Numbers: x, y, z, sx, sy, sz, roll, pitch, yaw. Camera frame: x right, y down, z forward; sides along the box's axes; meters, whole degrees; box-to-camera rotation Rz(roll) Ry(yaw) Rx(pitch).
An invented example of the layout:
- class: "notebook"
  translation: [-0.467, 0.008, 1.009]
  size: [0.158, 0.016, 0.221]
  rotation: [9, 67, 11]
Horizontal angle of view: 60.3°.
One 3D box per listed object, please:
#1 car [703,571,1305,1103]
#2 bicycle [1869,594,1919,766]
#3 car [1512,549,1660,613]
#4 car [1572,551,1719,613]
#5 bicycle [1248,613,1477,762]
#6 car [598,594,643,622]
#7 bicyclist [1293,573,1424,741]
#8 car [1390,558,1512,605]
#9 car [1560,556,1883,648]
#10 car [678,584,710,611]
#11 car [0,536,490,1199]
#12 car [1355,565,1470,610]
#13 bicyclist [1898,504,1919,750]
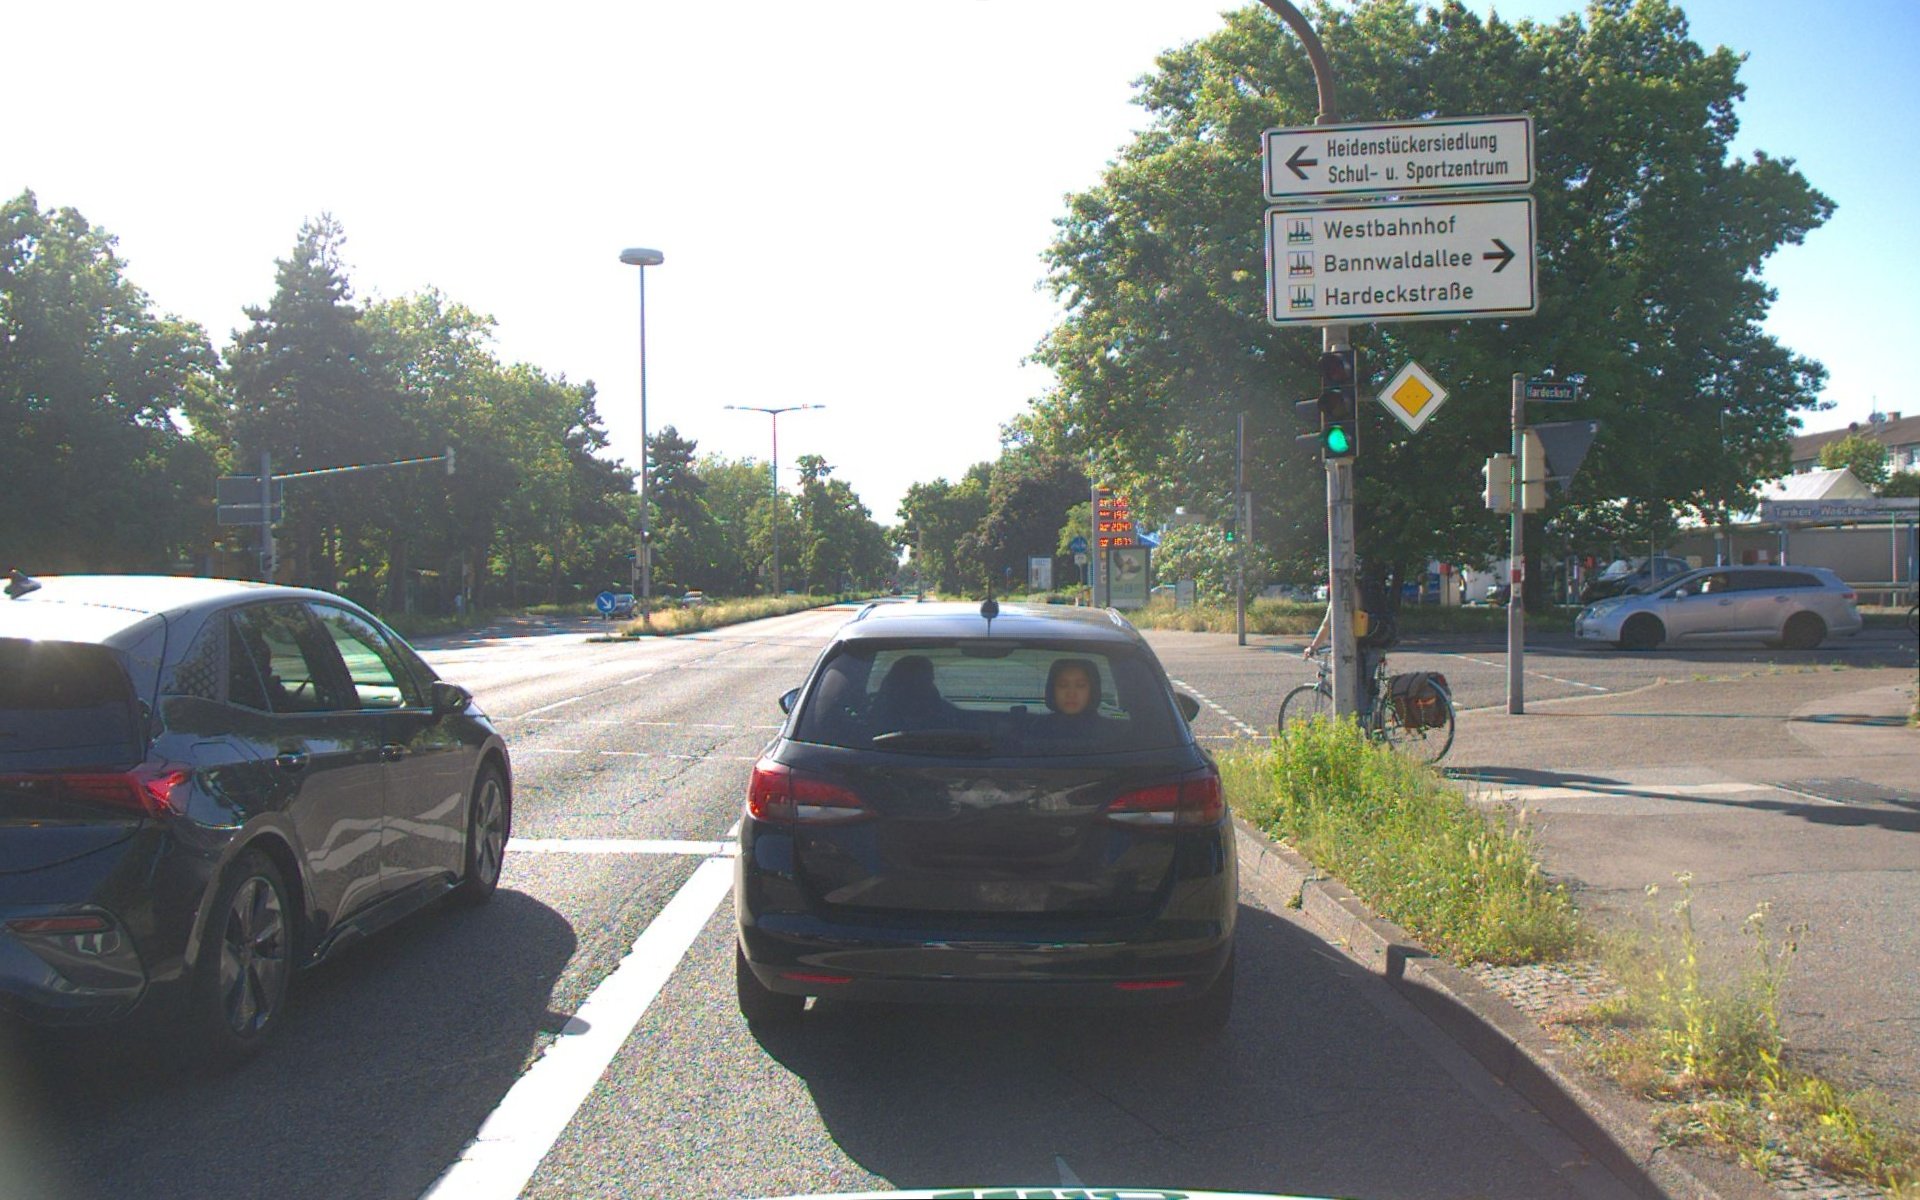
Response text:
- class: "car"
  translation: [0.102, 0.688, 6.859]
  size: [1.721, 1.521, 4.206]
  rotation: [0, 0, -1]
- class: "bicycle"
  translation: [6.535, 0.523, 10.497]
  size: [0.566, 1.116, 1.989]
  rotation: [-3, 0, 6]
- class: "car"
  translation: [18.935, -0.584, 50.008]
  size: [3.936, 1.780, 1.985]
  rotation: [-2, 1, -24]
- class: "car"
  translation: [19.990, -0.522, 48.201]
  size: [3.934, 1.709, 1.732]
  rotation: [-2, 0, -24]
- class: "bicycle"
  translation: [3.226, 0.705, 13.376]
  size: [0.533, 1.117, 1.748]
  rotation: [-2, -2, -44]
- class: "car"
  translation: [-20.571, 0.470, 100.293]
  size: [1.953, 1.556, 3.999]
  rotation: [-2, 0, -1]
- class: "bicyclist"
  translation: [3.219, 0.459, 13.378]
  size: [0.534, 1.299, 0.816]
  rotation: [-2, -2, -44]
- class: "car"
  translation: [16.911, -0.637, 56.990]
  size: [3.837, 1.544, 1.732]
  rotation: [-2, 0, -24]
- class: "car"
  translation: [13.539, 0.039, 29.709]
  size: [4.897, 1.512, 2.002]
  rotation: [-1, 0, 11]
- class: "car"
  translation: [-21.396, -0.217, 133.242]
  size: [1.953, 2.049, 3.999]
  rotation: [-2, 0, -1]
- class: "car"
  translation: [-2.999, 0.662, 5.611]
  size: [1.650, 1.608, 4.206]
  rotation: [0, 0, -1]
- class: "car"
  translation: [16.434, -0.449, 60.065]
  size: [3.837, 1.544, 1.732]
  rotation: [-2, 0, -24]
- class: "bicyclist"
  translation: [6.520, 0.168, 10.496]
  size: [0.566, 1.609, 0.998]
  rotation: [-3, 0, 6]
